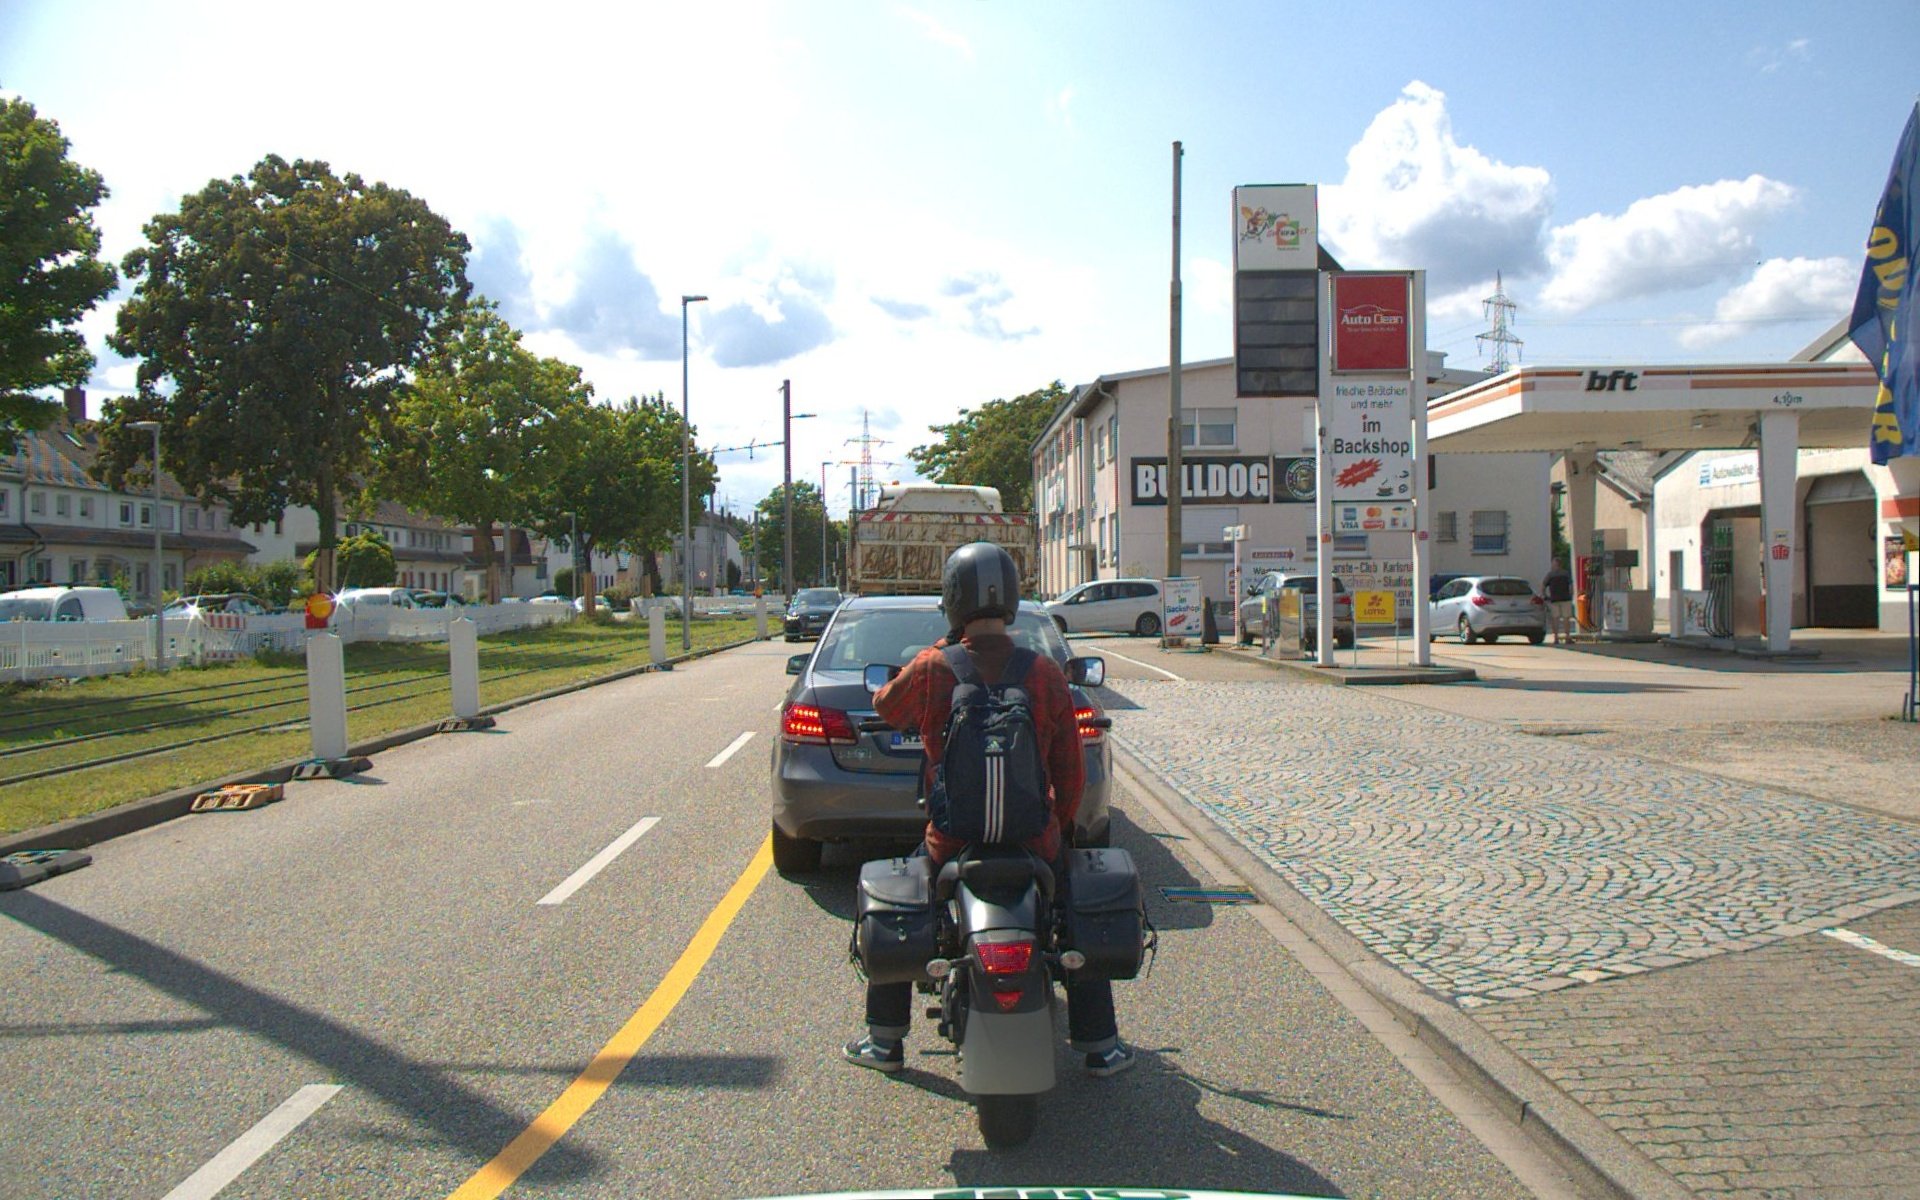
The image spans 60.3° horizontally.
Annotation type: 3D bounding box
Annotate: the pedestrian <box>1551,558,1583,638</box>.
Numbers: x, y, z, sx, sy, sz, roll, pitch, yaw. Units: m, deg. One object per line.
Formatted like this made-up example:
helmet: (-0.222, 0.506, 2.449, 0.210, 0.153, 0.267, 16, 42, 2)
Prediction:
pedestrian: (13.131, -0.047, 35.792, 0.621, 1.712, 0.622, -1, 0, 20)

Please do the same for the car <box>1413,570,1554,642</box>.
car: (11.769, 0.103, 37.420, 1.795, 1.505, 4.008, -1, 0, -2)

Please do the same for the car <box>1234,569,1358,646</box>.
car: (7.398, 0.143, 36.755, 1.795, 1.562, 4.008, -1, 0, -2)

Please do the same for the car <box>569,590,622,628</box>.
car: (-17.496, 0.406, 79.477, 1.664, 1.770, 3.860, -1, 0, -1)

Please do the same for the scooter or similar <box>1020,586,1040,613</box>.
scooter or similar: (3.143, -0.030, 74.566, 0.779, 1.165, 1.519, -1, 0, -1)

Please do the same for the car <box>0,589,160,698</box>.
car: (-16.421, 0.744, 30.293, 1.664, 1.849, 3.860, -1, 0, -1)

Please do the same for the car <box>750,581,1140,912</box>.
car: (-0.128, 0.665, 9.750, 1.795, 1.505, 4.008, -1, 0, -2)

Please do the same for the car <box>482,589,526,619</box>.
car: (-28.672, 0.228, 104.146, 1.664, 1.770, 4.061, -1, 0, -1)

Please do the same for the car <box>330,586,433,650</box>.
car: (-16.937, 0.494, 48.614, 1.664, 1.770, 3.860, -1, 0, -1)

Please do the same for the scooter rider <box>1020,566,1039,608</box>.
scooter rider: (3.134, -0.585, 74.501, 0.779, 1.850, 0.508, -1, 0, -1)

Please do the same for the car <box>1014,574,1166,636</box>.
car: (3.666, 0.118, 47.084, 4.029, 1.652, 1.682, -1, 0, -9)

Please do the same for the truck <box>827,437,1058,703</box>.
truck: (-0.359, -0.421, 25.469, 2.910, 3.362, 8.404, -1, 0, -2)

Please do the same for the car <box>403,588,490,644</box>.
car: (-17.024, 0.497, 54.980, 1.664, 1.770, 3.860, -1, 0, -1)

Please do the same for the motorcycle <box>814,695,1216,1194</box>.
motorcycle: (0.116, 0.902, 5.194, 0.956, 1.031, 2.431, 1, 0, -1)

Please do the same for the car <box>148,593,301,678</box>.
car: (-16.676, 0.758, 37.717, 1.664, 1.770, 4.053, -1, 0, -1)

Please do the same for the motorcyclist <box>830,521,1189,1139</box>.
motorcyclist: (0.127, 0.619, 5.076, 0.950, 1.662, 1.214, 1, 0, -1)

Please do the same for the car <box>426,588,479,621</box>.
car: (-28.188, 0.243, 91.933, 1.664, 1.770, 4.061, -1, 0, -1)

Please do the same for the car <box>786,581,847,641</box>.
car: (-4.194, 0.289, 47.969, 1.648, 1.652, 4.113, -1, 0, -6)
